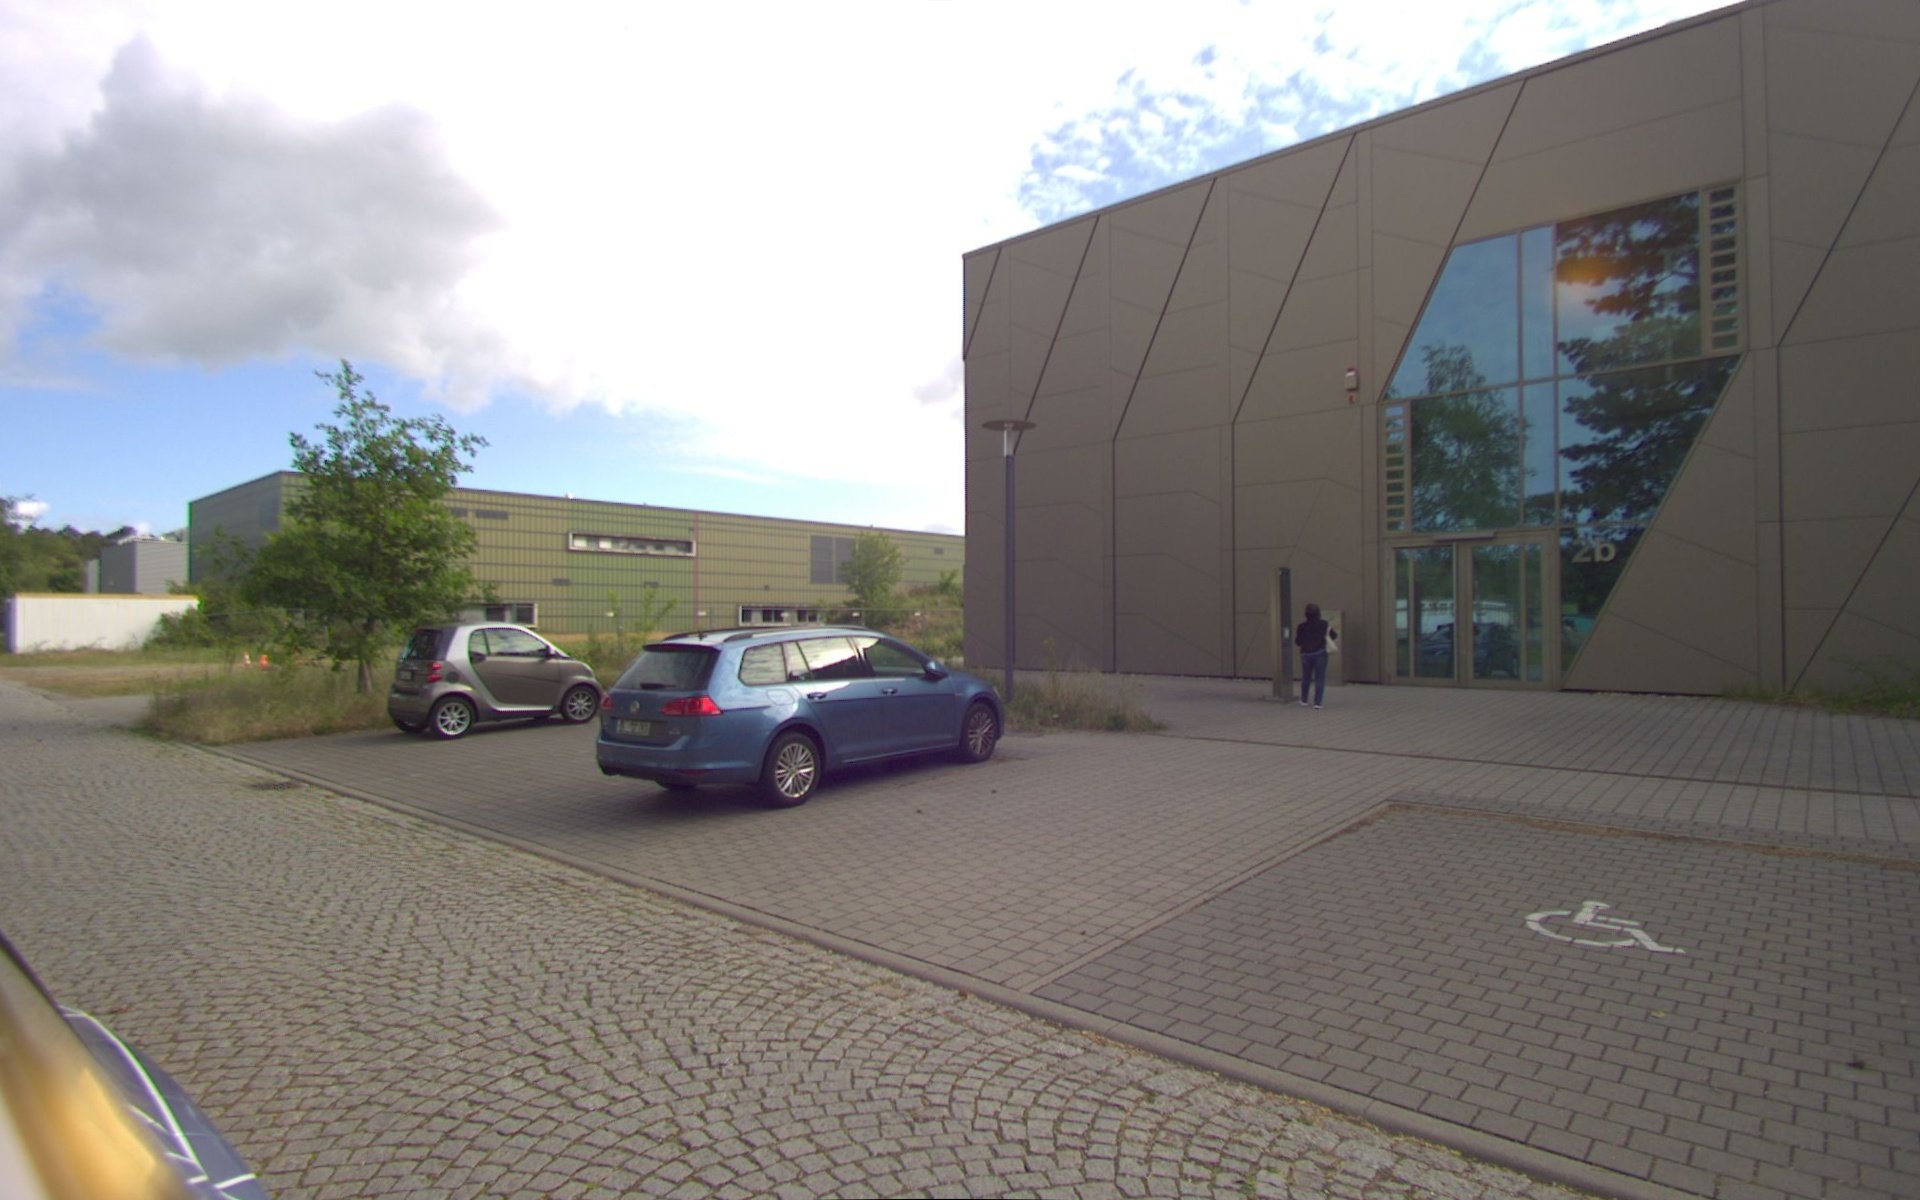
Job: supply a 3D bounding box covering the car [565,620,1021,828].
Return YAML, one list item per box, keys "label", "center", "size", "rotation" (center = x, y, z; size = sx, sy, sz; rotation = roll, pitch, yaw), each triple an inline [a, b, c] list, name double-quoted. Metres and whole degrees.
- label: "car"
  center: [-1.351, 0.976, 9.744]
  size: [1.771, 1.439, 4.264]
  rotation: [-2, -1, 38]

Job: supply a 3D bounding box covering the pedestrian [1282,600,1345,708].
- label: "pedestrian"
  center: [5.112, 0.761, 14.637]
  size: [0.812, 1.506, 0.980]
  rotation: [-1, -1, 20]

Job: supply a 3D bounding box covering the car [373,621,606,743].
- label: "car"
  center: [-6.763, 1.105, 14.665]
  size: [1.609, 1.523, 2.627]
  rotation: [-2, -1, 40]
